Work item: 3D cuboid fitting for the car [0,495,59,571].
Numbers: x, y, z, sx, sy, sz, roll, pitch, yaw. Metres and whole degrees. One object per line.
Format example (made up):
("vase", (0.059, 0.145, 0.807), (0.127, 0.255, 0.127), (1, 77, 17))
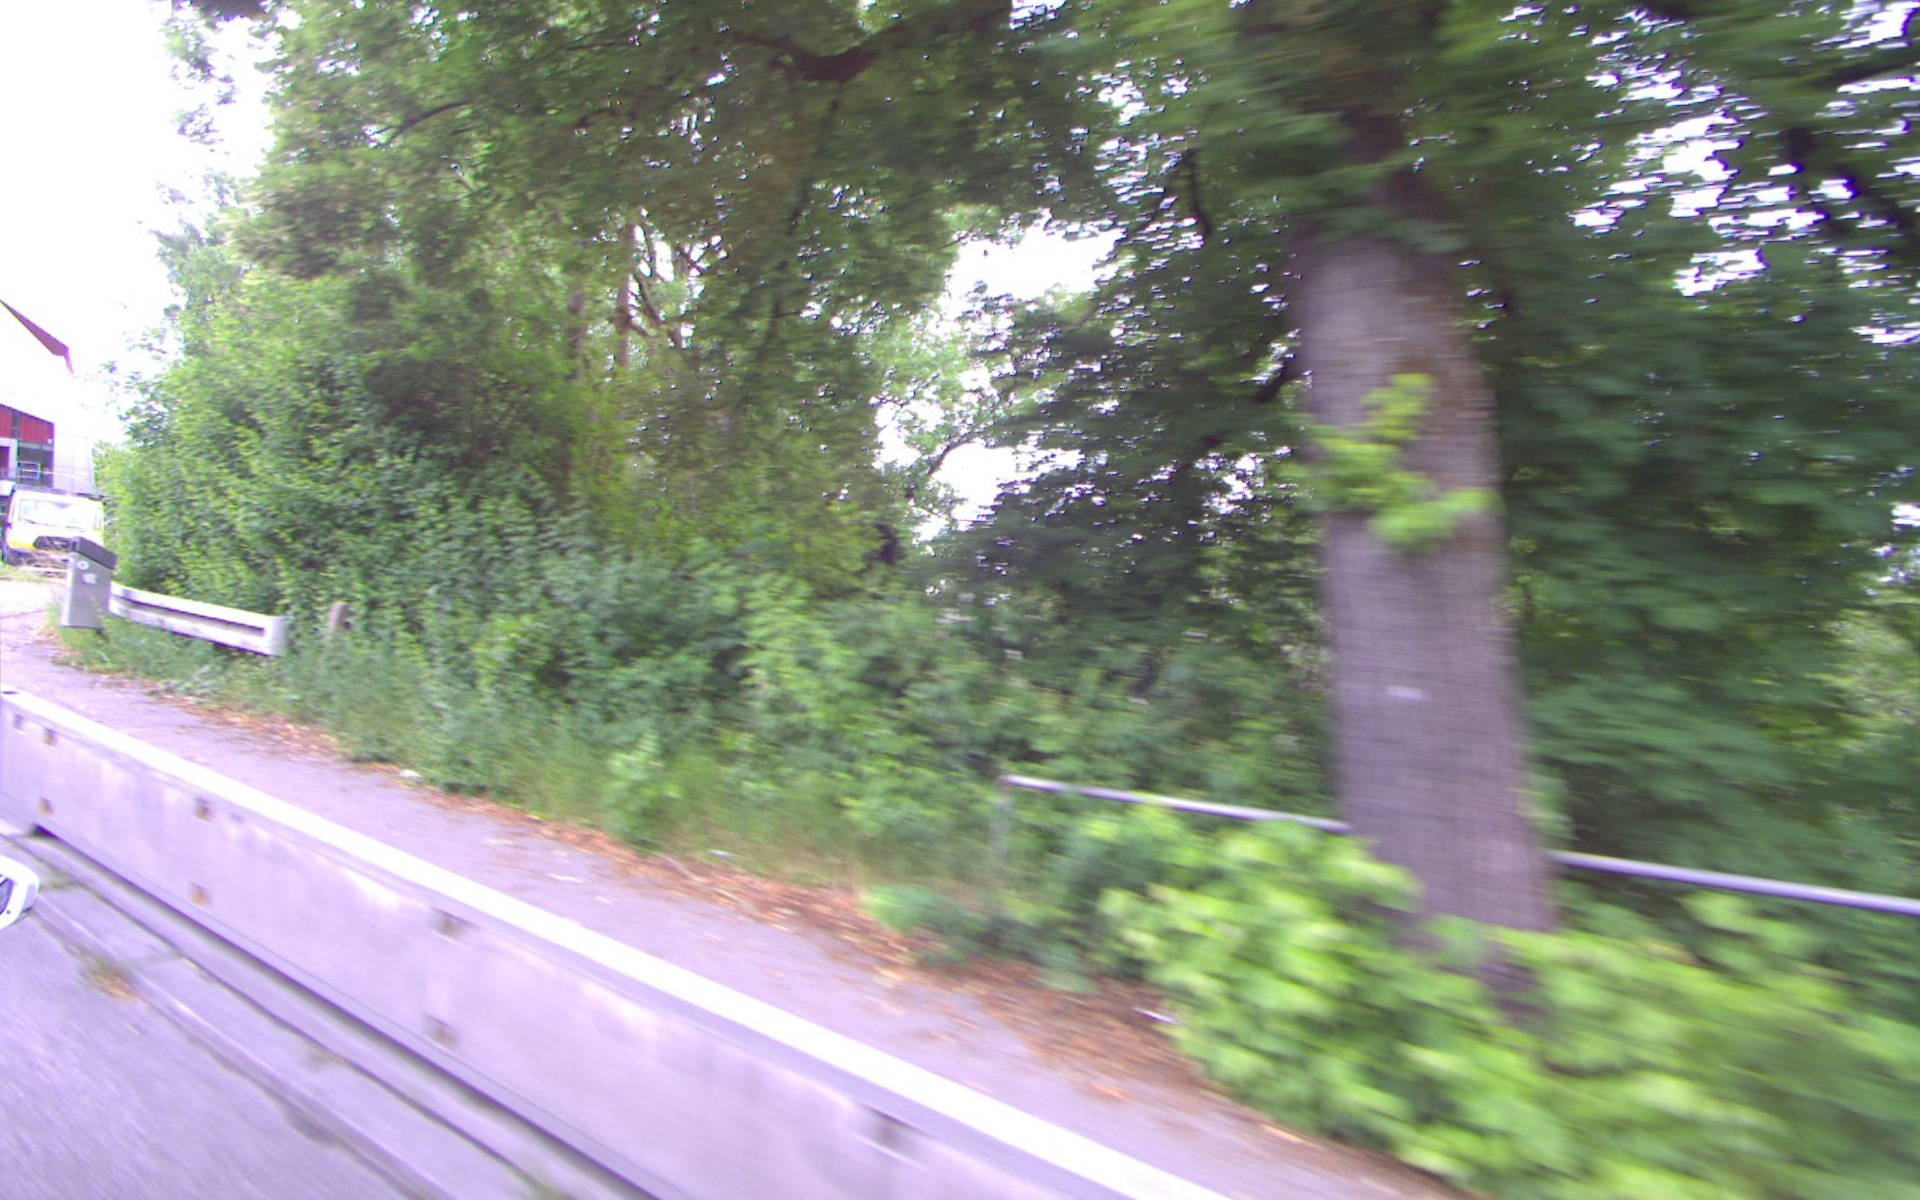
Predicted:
("car", (-22.352, -1.706, 22.024), (1.552, 1.559, 3.494), (7, -3, 33))

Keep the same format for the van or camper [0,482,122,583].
("van or camper", (-25.652, -1.973, 28.401), (6.094, 2.360, 2.211), (7, 2, 42))
